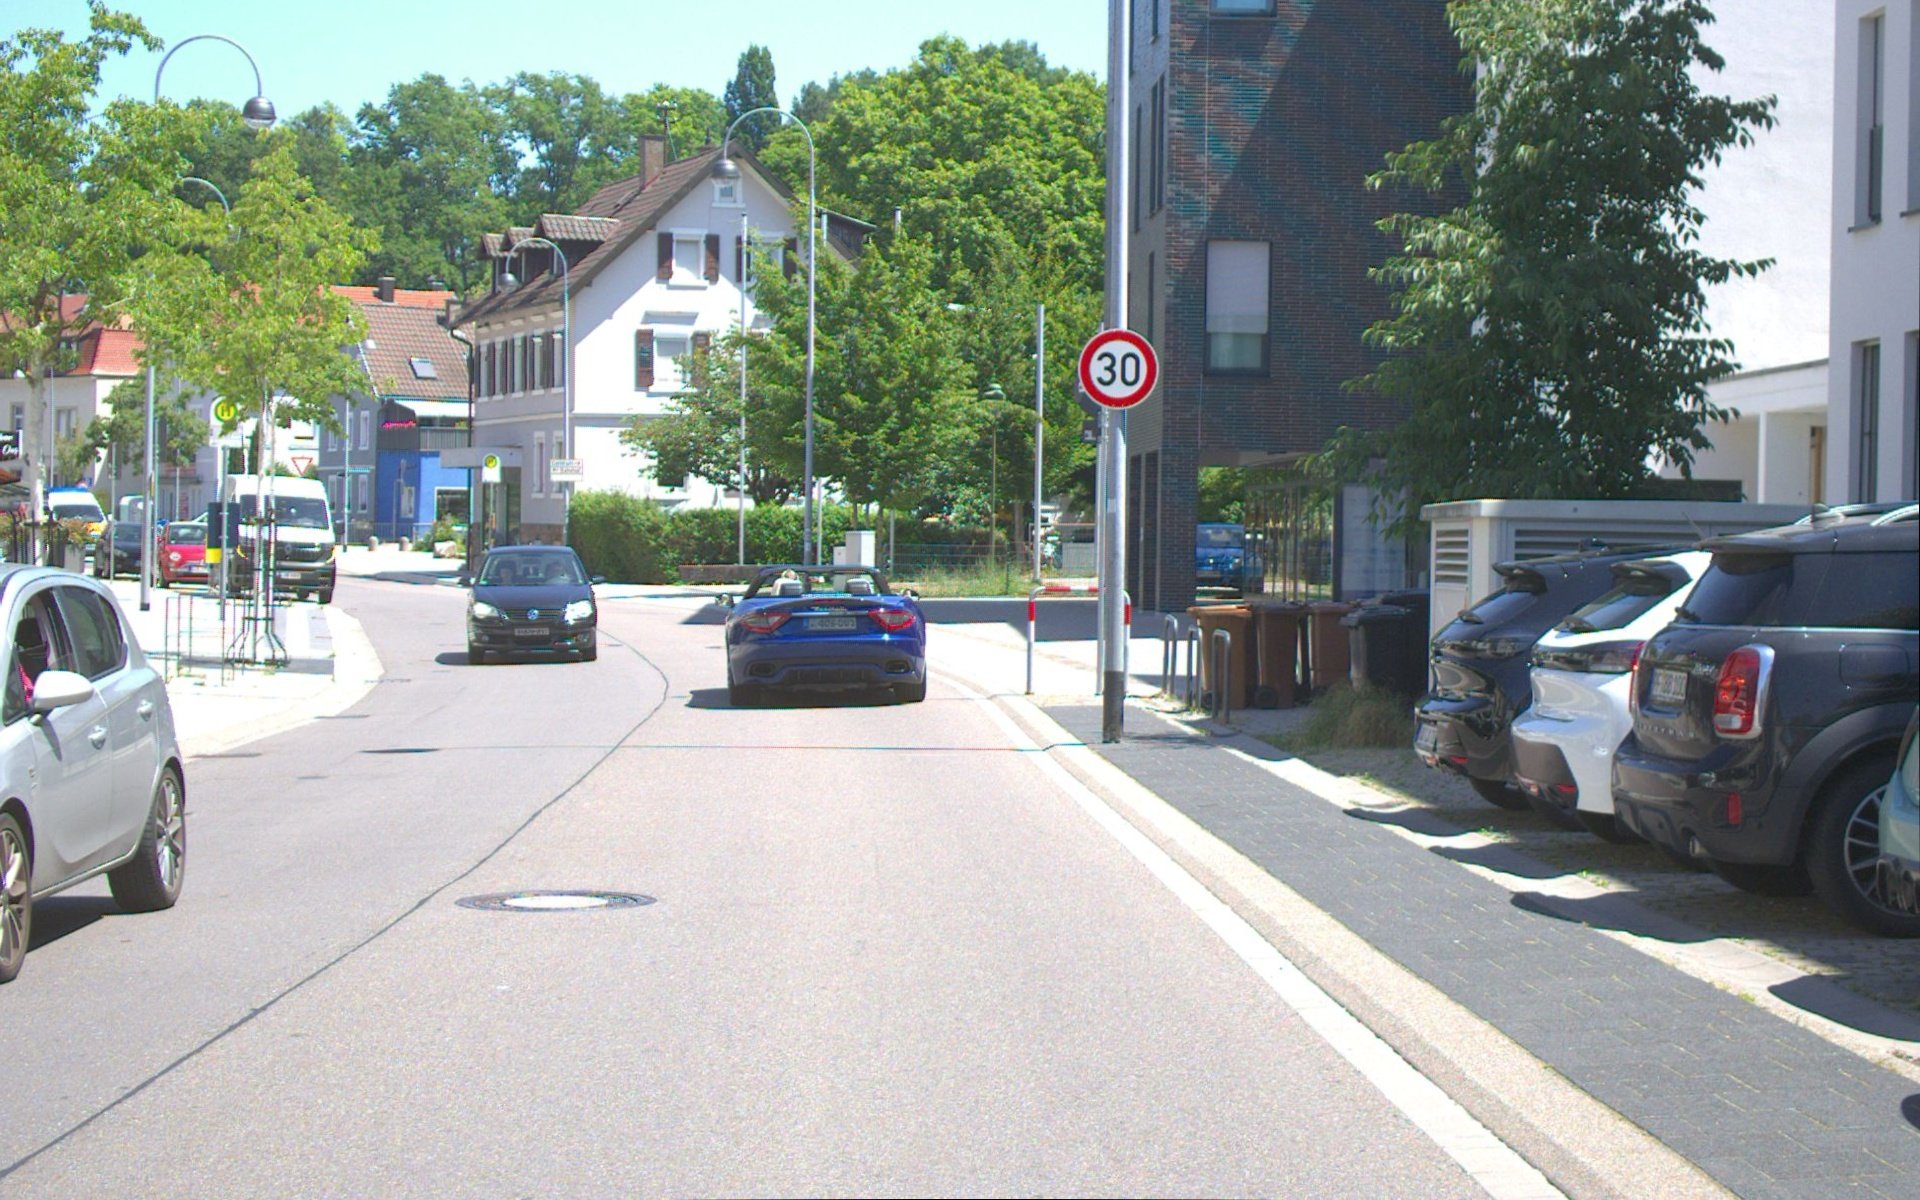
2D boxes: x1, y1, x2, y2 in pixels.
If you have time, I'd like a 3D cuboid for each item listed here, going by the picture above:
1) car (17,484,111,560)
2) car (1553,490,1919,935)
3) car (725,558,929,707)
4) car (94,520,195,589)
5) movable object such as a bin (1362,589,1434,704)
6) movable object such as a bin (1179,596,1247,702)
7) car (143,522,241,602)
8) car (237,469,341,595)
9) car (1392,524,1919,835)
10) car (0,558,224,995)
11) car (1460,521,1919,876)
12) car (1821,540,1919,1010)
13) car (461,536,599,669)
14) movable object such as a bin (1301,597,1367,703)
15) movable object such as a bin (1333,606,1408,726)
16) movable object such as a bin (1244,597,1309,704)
[{"bbox_3d":[-29.053,-2.527,111.369,1.866,2.392,4.819,0,1,-28],"label":"car"},{"bbox_3d":[4.506,0.408,13.424,3.980,1.599,1.943,0,0,-2],"label":"car"},{"bbox_3d":[-1.290,0.276,34.281,1.870,1.337,4.596,-1,1,-1],"label":"car"},{"bbox_3d":[-21.057,-1.184,88.650,1.993,1.686,4.001,1,1,-21],"label":"car"},{"bbox_3d":[3.610,0.376,28.378,0.495,0.926,0.623,-1,0,-1],"label":"movable object such as a bin"},{"bbox_3d":[2.257,0.433,30.716,0.537,0.926,0.623,-1,0,-1],"label":"movable object such as a bin"},{"bbox_3d":[-17.190,-0.844,76.842,1.993,1.732,4.001,0,1,-15],"label":"car"},{"bbox_3d":[-13.367,-1.350,68.310,1.866,2.392,4.820,0,1,-13],"label":"car"},{"bbox_3d":[4.378,0.393,17.909,3.980,1.524,1.741,0,0,-2],"label":"car"},{"bbox_3d":[-4.089,0.601,12.945,1.687,1.453,4.058,-1,1,1],"label":"car"},{"bbox_3d":[4.477,0.428,15.909,3.980,1.524,1.943,0,1,-2],"label":"car"},{"bbox_3d":[4.903,0.545,10.662,3.980,1.427,1.763,0,1,-2],"label":"car"},{"bbox_3d":[-5.558,-0.004,44.373,1.660,1.601,4.001,-1,1,-7],"label":"car"},{"bbox_3d":[3.342,0.441,30.713,0.495,0.926,0.623,-1,0,-1],"label":"movable object such as a bin"},{"bbox_3d":[3.265,0.517,27.341,0.495,0.926,0.623,-1,0,-1],"label":"movable object such as a bin"},{"bbox_3d":[2.820,0.446,30.700,0.495,0.926,0.623,-1,0,-1],"label":"movable object such as a bin"}]
